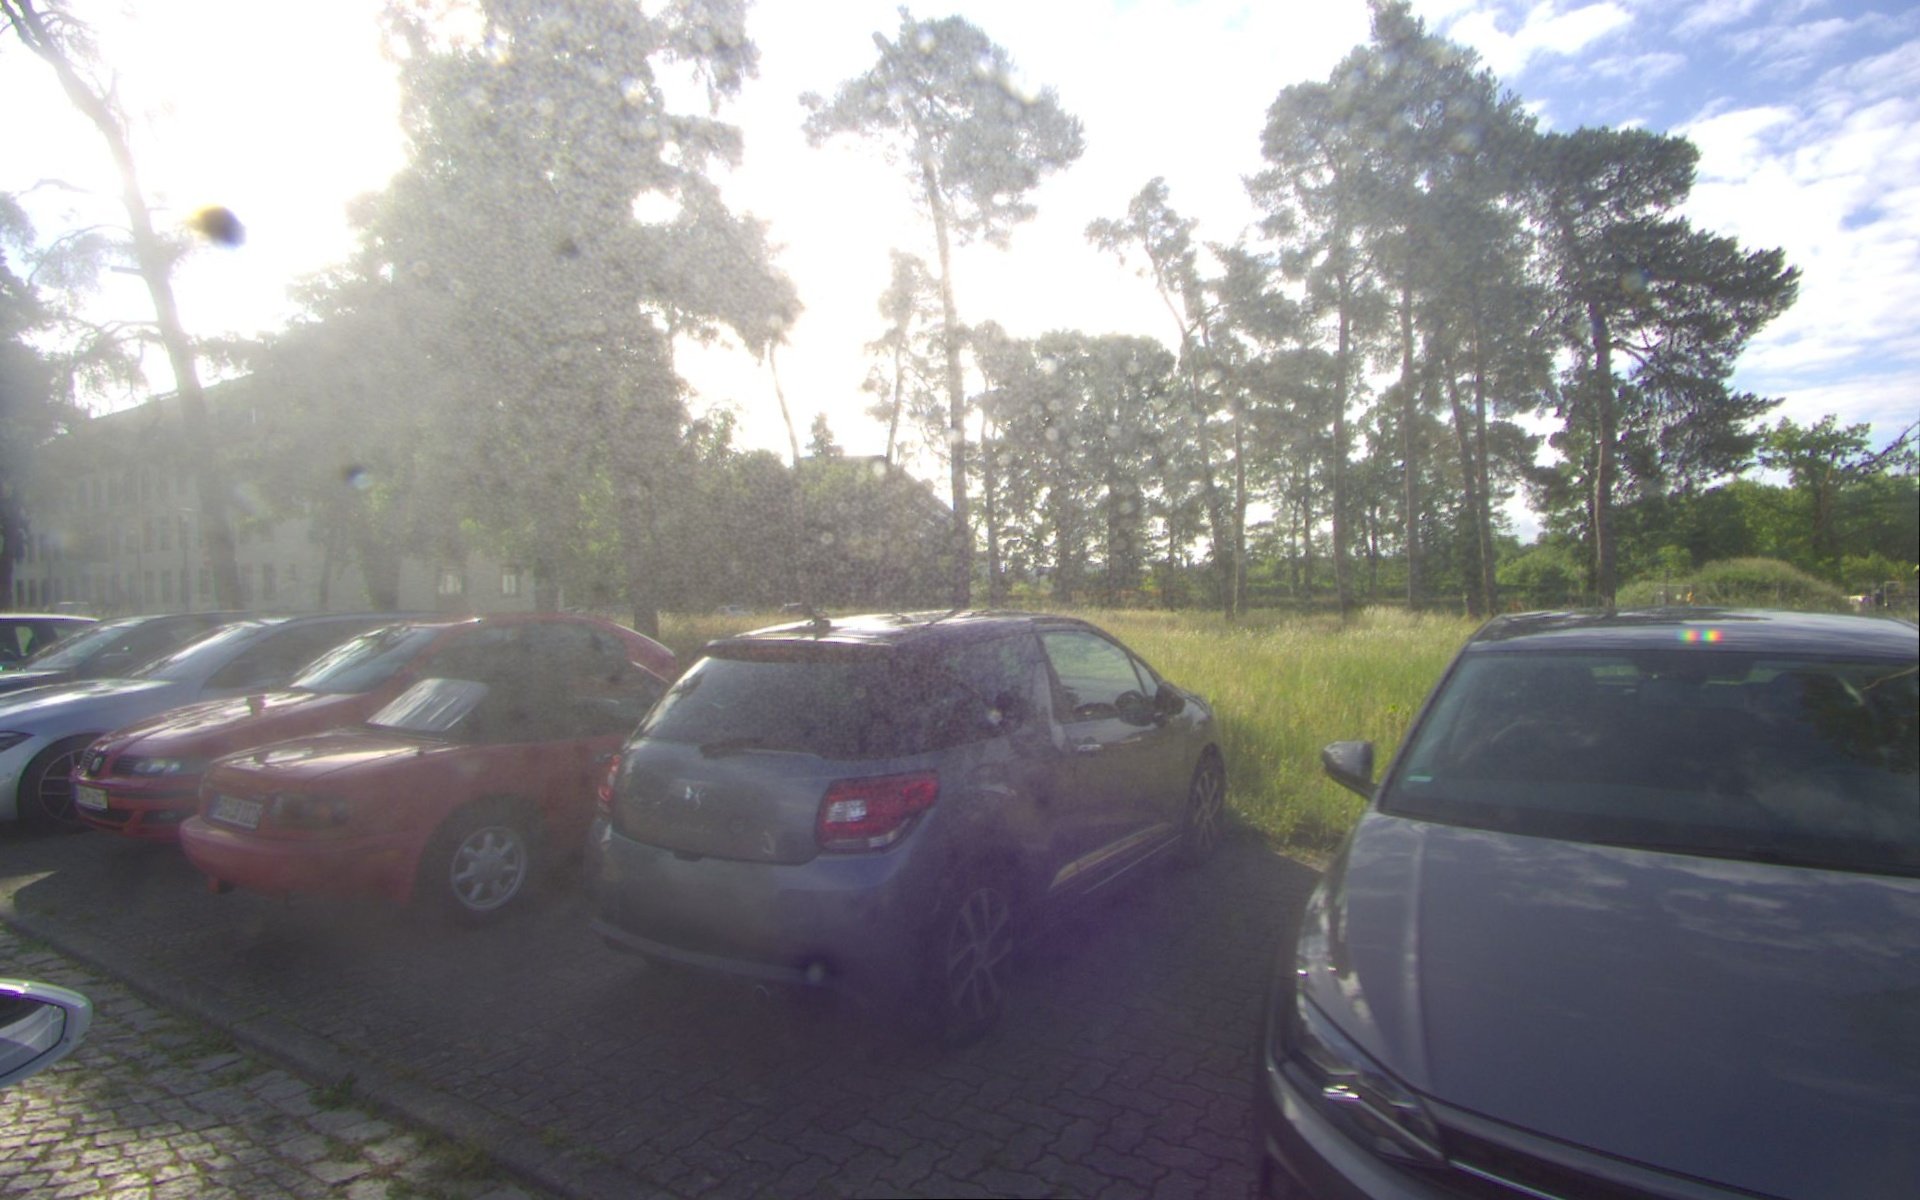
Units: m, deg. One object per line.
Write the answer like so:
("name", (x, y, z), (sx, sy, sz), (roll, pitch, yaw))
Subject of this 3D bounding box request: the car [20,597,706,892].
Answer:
("car", (-4.032, 0.772, 7.523), (1.613, 1.469, 4.117), (0, 2, 33))

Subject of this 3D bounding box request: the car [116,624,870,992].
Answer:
("car", (-2.353, 0.867, 5.941), (1.721, 1.240, 3.697), (0, 2, 33))

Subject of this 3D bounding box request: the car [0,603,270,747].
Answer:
("car", (-10.479, 0.816, 11.496), (1.613, 1.434, 3.872), (0, 2, 33))

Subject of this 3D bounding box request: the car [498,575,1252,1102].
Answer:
("car", (0.004, 0.640, 4.872), (1.790, 1.469, 3.698), (0, 2, 32))

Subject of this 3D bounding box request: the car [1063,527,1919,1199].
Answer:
("car", (1.918, 0.609, 2.558), (1.830, 1.469, 3.697), (0, 2, 33))

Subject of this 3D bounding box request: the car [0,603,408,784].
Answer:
("car", (-8.215, 0.816, 9.948), (1.613, 1.434, 4.547), (0, 2, 33))

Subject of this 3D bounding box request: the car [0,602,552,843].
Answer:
("car", (-5.966, 0.803, 8.495), (1.755, 1.434, 4.420), (0, 2, 33))
